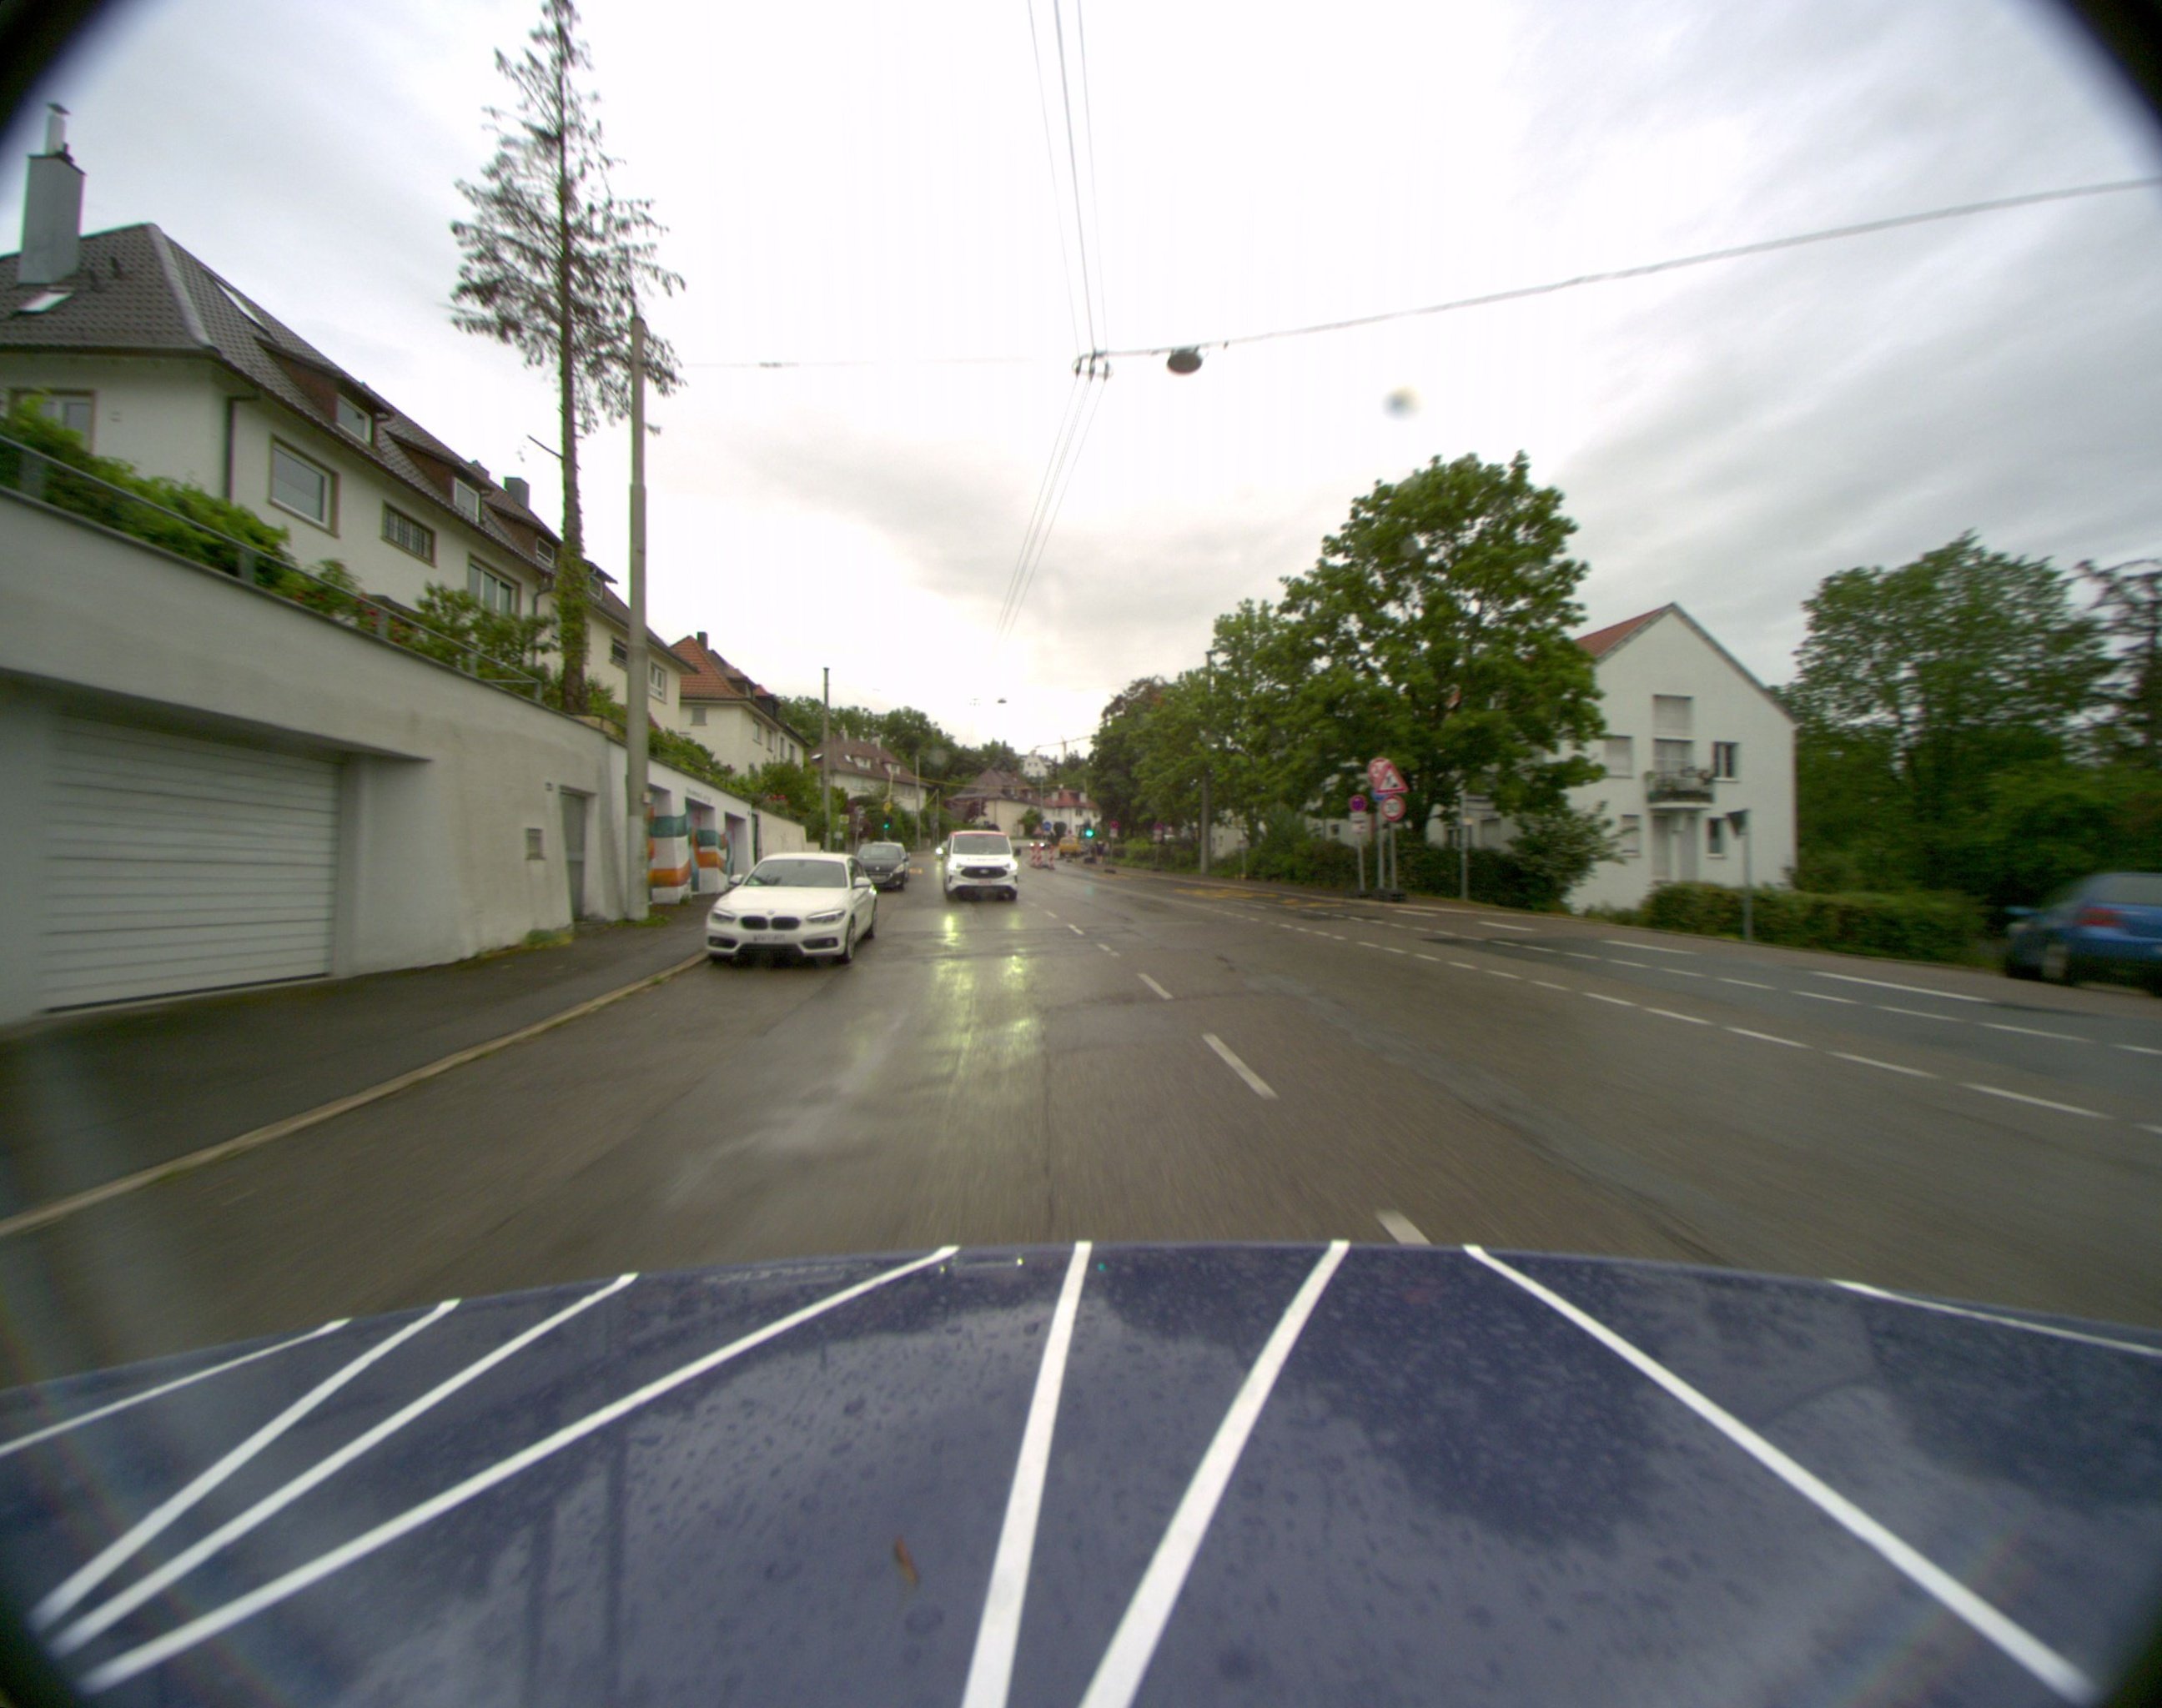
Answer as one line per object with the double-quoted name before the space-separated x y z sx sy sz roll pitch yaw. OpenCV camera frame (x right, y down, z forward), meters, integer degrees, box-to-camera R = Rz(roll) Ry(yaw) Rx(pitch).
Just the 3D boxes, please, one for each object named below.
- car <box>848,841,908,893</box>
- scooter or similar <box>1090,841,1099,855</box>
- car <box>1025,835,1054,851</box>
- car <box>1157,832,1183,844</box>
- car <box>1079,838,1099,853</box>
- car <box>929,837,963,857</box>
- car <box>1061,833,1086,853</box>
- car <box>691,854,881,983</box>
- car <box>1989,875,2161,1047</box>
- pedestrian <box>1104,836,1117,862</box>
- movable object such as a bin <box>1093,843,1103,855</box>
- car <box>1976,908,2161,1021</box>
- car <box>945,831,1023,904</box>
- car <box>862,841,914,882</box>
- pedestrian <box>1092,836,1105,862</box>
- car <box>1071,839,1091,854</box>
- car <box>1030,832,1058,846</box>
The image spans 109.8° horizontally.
"car" -6.635 0.370 24.909 1.720 1.505 3.993 1 1 -15
"scooter or similar" 1.296 -0.592 72.498 0.399 1.253 1.318 -1 2 17
"car" -4.786 -1.321 88.244 1.805 1.716 4.582 3 2 17
"car" 13.639 -2.434 116.037 1.805 1.791 4.472 2 2 37
"car" 0.963 -1.039 87.712 1.723 1.599 4.465 1 2 9
"car" -10.157 -0.564 57.440 1.989 1.428 4.512 0 2 -3
"car" -0.721 -1.120 76.266 1.806 1.917 4.578 3 2 7
"car" -4.036 0.778 11.062 1.711 1.406 4.037 1 1 -8
"car" 13.113 1.218 9.395 1.836 1.657 3.950 3 3 43
"pedestrian" 2.095 -0.355 54.197 0.683 1.806 1.154 0 1 -12
"movable object such as a bin" 1.618 -0.460 71.662 0.860 1.134 0.712 1 3 5
"car" 17.927 1.829 13.506 4.088 1.485 1.837 1 2 -30
"car" -2.996 0.320 22.604 2.043 1.928 4.510 -1 1 -10
"car" -7.570 0.236 30.112 1.788 1.412 4.424 2 1 -12
"pedestrian" 1.249 -0.335 54.008 0.710 1.806 1.146 0 1 -12
"car" 0.050 -0.840 82.203 1.577 1.446 3.465 2 3 9
"car" -4.805 -1.933 99.287 1.804 1.716 4.584 3 2 23
